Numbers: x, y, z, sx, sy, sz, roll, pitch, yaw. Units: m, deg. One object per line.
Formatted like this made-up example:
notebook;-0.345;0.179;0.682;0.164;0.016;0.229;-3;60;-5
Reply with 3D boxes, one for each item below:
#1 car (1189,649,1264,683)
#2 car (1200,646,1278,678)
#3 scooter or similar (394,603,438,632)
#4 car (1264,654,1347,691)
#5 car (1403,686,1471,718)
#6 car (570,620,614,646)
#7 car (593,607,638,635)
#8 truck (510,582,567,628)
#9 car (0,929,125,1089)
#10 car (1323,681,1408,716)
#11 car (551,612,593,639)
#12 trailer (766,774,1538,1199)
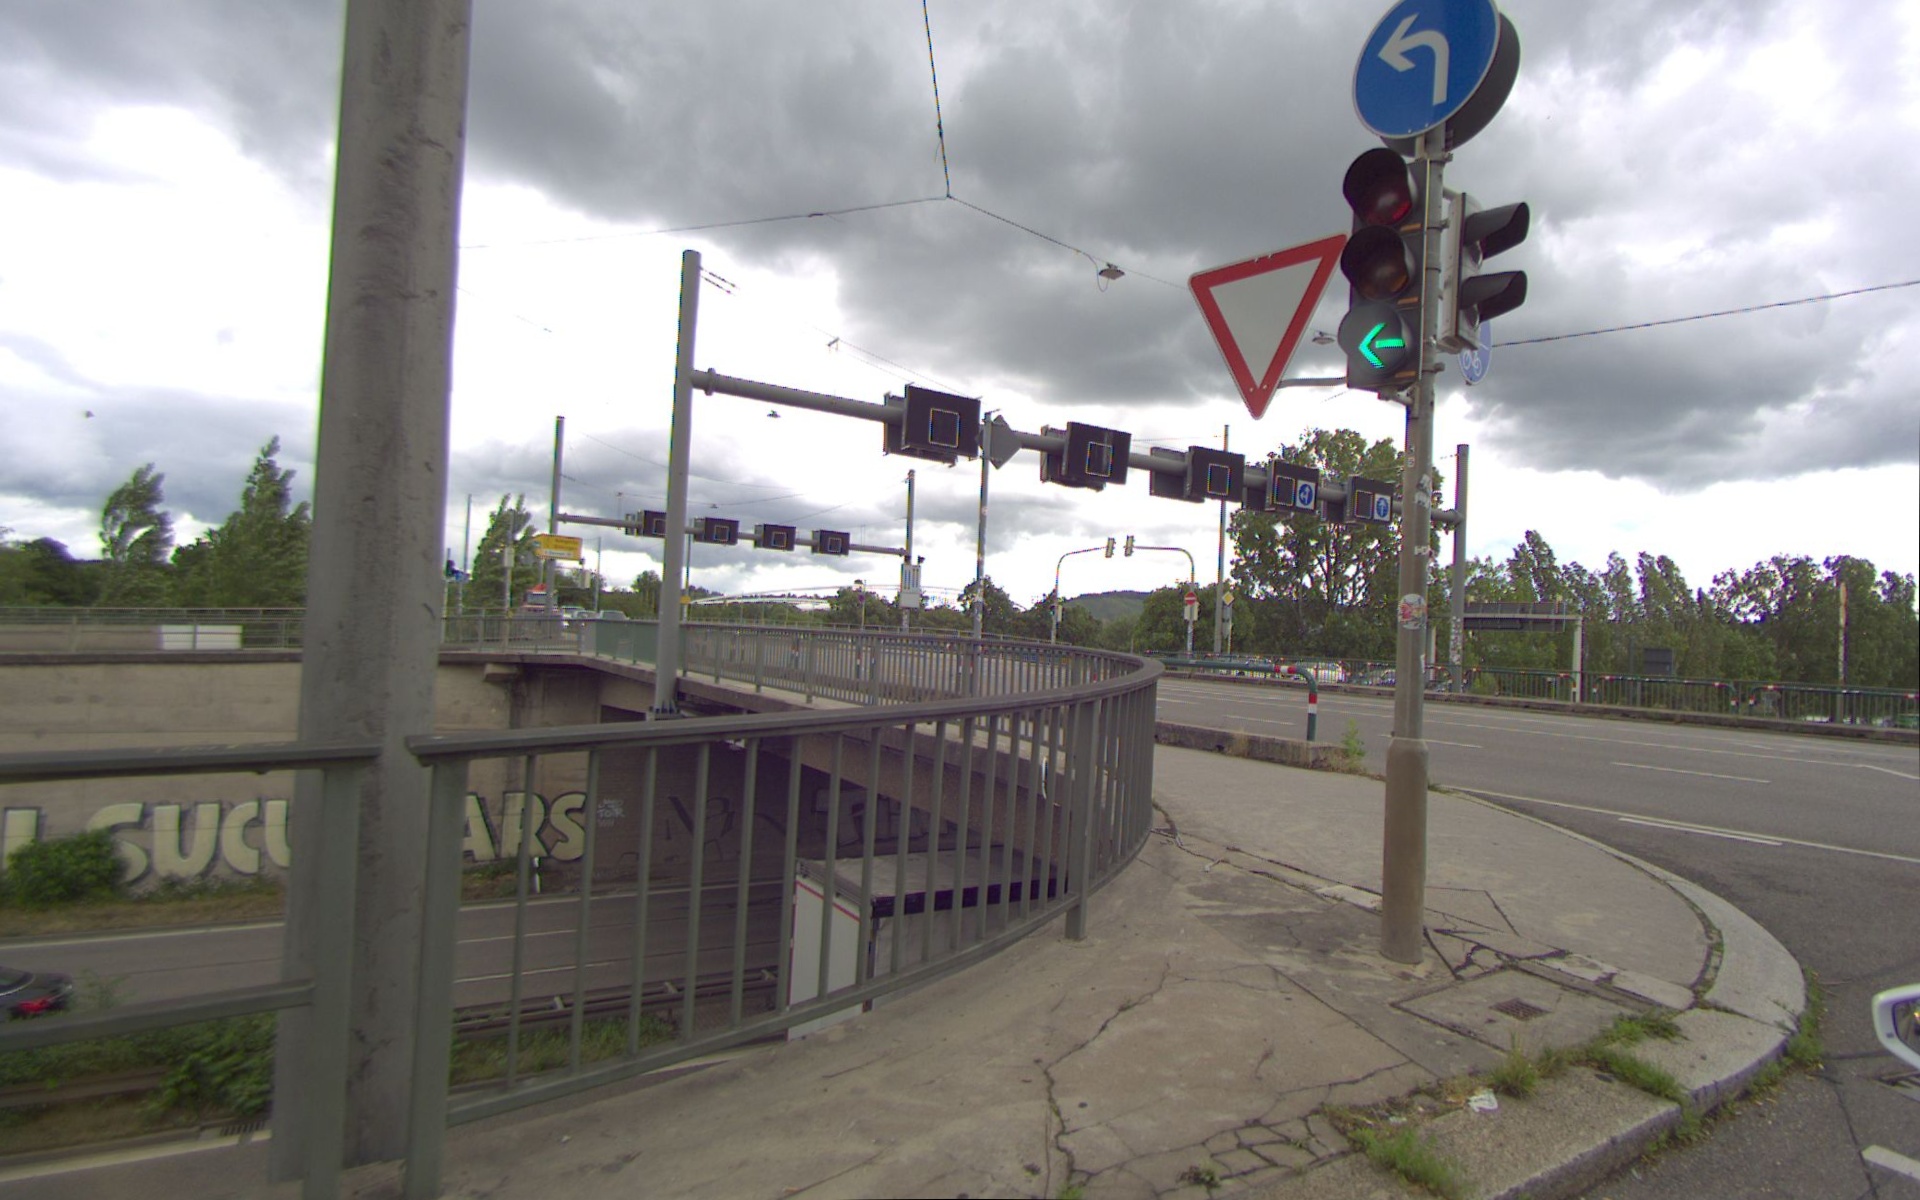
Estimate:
car;14.477;3.585;54.592;3.968;1.559;1.680;7;-5;-33
car;14.230;3.163;51.172;3.726;1.329;1.775;7;-5;-32
scooter or similar;-19.992;0.645;36.917;1.324;1.070;0.479;2;-1;-39
car;18.859;3.953;54.840;4.297;1.640;1.983;7;-5;-32
car;29.477;6.307;62.092;3.959;1.638;1.983;7;-5;-32
car;-23.771;2.110;64.769;1.821;1.524;4.479;3;-2;-31
car;-20.061;1.202;58.375;1.819;1.524;3.842;3;-2;-29
truck;-36.169;0.479;85.963;2.982;3.612;9.899;3;-2;-31
car;-16.911;6.719;16.255;4.669;1.739;2.322;4;-1;-25
car;23.205;5.667;57.470;4.911;1.640;1.983;7;-5;-32
car;-27.140;1.758;70.167;1.865;1.784;4.762;3;-2;-31
trailer;4.034;6.064;16.561;13.962;5.057;2.958;2;-1;-30
